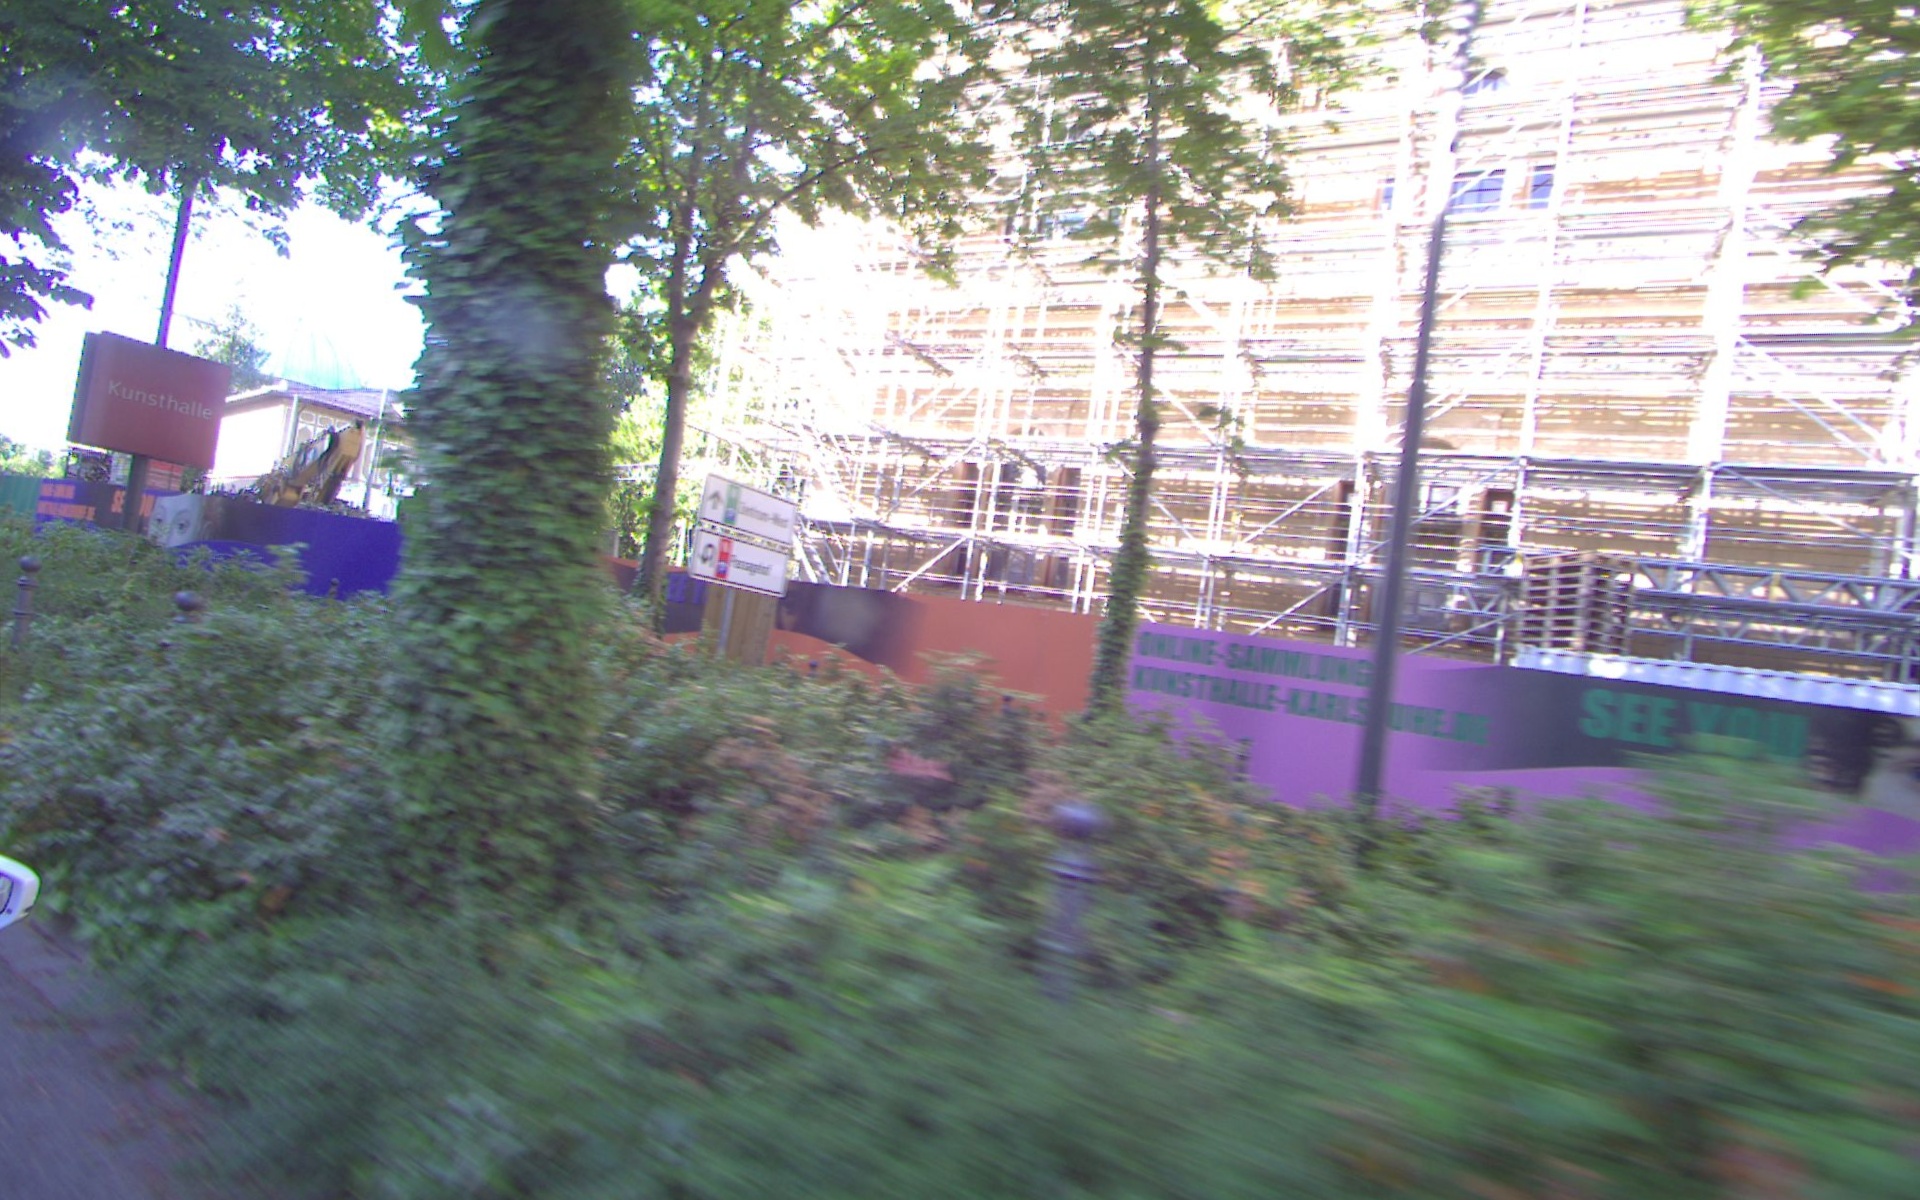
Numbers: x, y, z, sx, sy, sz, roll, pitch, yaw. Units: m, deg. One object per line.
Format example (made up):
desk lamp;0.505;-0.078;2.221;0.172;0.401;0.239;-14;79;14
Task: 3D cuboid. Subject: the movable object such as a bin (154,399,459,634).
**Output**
movable object such as a bin;-16.060;-2.037;24.484;7.785;4.590;3.310;7;-2;37
